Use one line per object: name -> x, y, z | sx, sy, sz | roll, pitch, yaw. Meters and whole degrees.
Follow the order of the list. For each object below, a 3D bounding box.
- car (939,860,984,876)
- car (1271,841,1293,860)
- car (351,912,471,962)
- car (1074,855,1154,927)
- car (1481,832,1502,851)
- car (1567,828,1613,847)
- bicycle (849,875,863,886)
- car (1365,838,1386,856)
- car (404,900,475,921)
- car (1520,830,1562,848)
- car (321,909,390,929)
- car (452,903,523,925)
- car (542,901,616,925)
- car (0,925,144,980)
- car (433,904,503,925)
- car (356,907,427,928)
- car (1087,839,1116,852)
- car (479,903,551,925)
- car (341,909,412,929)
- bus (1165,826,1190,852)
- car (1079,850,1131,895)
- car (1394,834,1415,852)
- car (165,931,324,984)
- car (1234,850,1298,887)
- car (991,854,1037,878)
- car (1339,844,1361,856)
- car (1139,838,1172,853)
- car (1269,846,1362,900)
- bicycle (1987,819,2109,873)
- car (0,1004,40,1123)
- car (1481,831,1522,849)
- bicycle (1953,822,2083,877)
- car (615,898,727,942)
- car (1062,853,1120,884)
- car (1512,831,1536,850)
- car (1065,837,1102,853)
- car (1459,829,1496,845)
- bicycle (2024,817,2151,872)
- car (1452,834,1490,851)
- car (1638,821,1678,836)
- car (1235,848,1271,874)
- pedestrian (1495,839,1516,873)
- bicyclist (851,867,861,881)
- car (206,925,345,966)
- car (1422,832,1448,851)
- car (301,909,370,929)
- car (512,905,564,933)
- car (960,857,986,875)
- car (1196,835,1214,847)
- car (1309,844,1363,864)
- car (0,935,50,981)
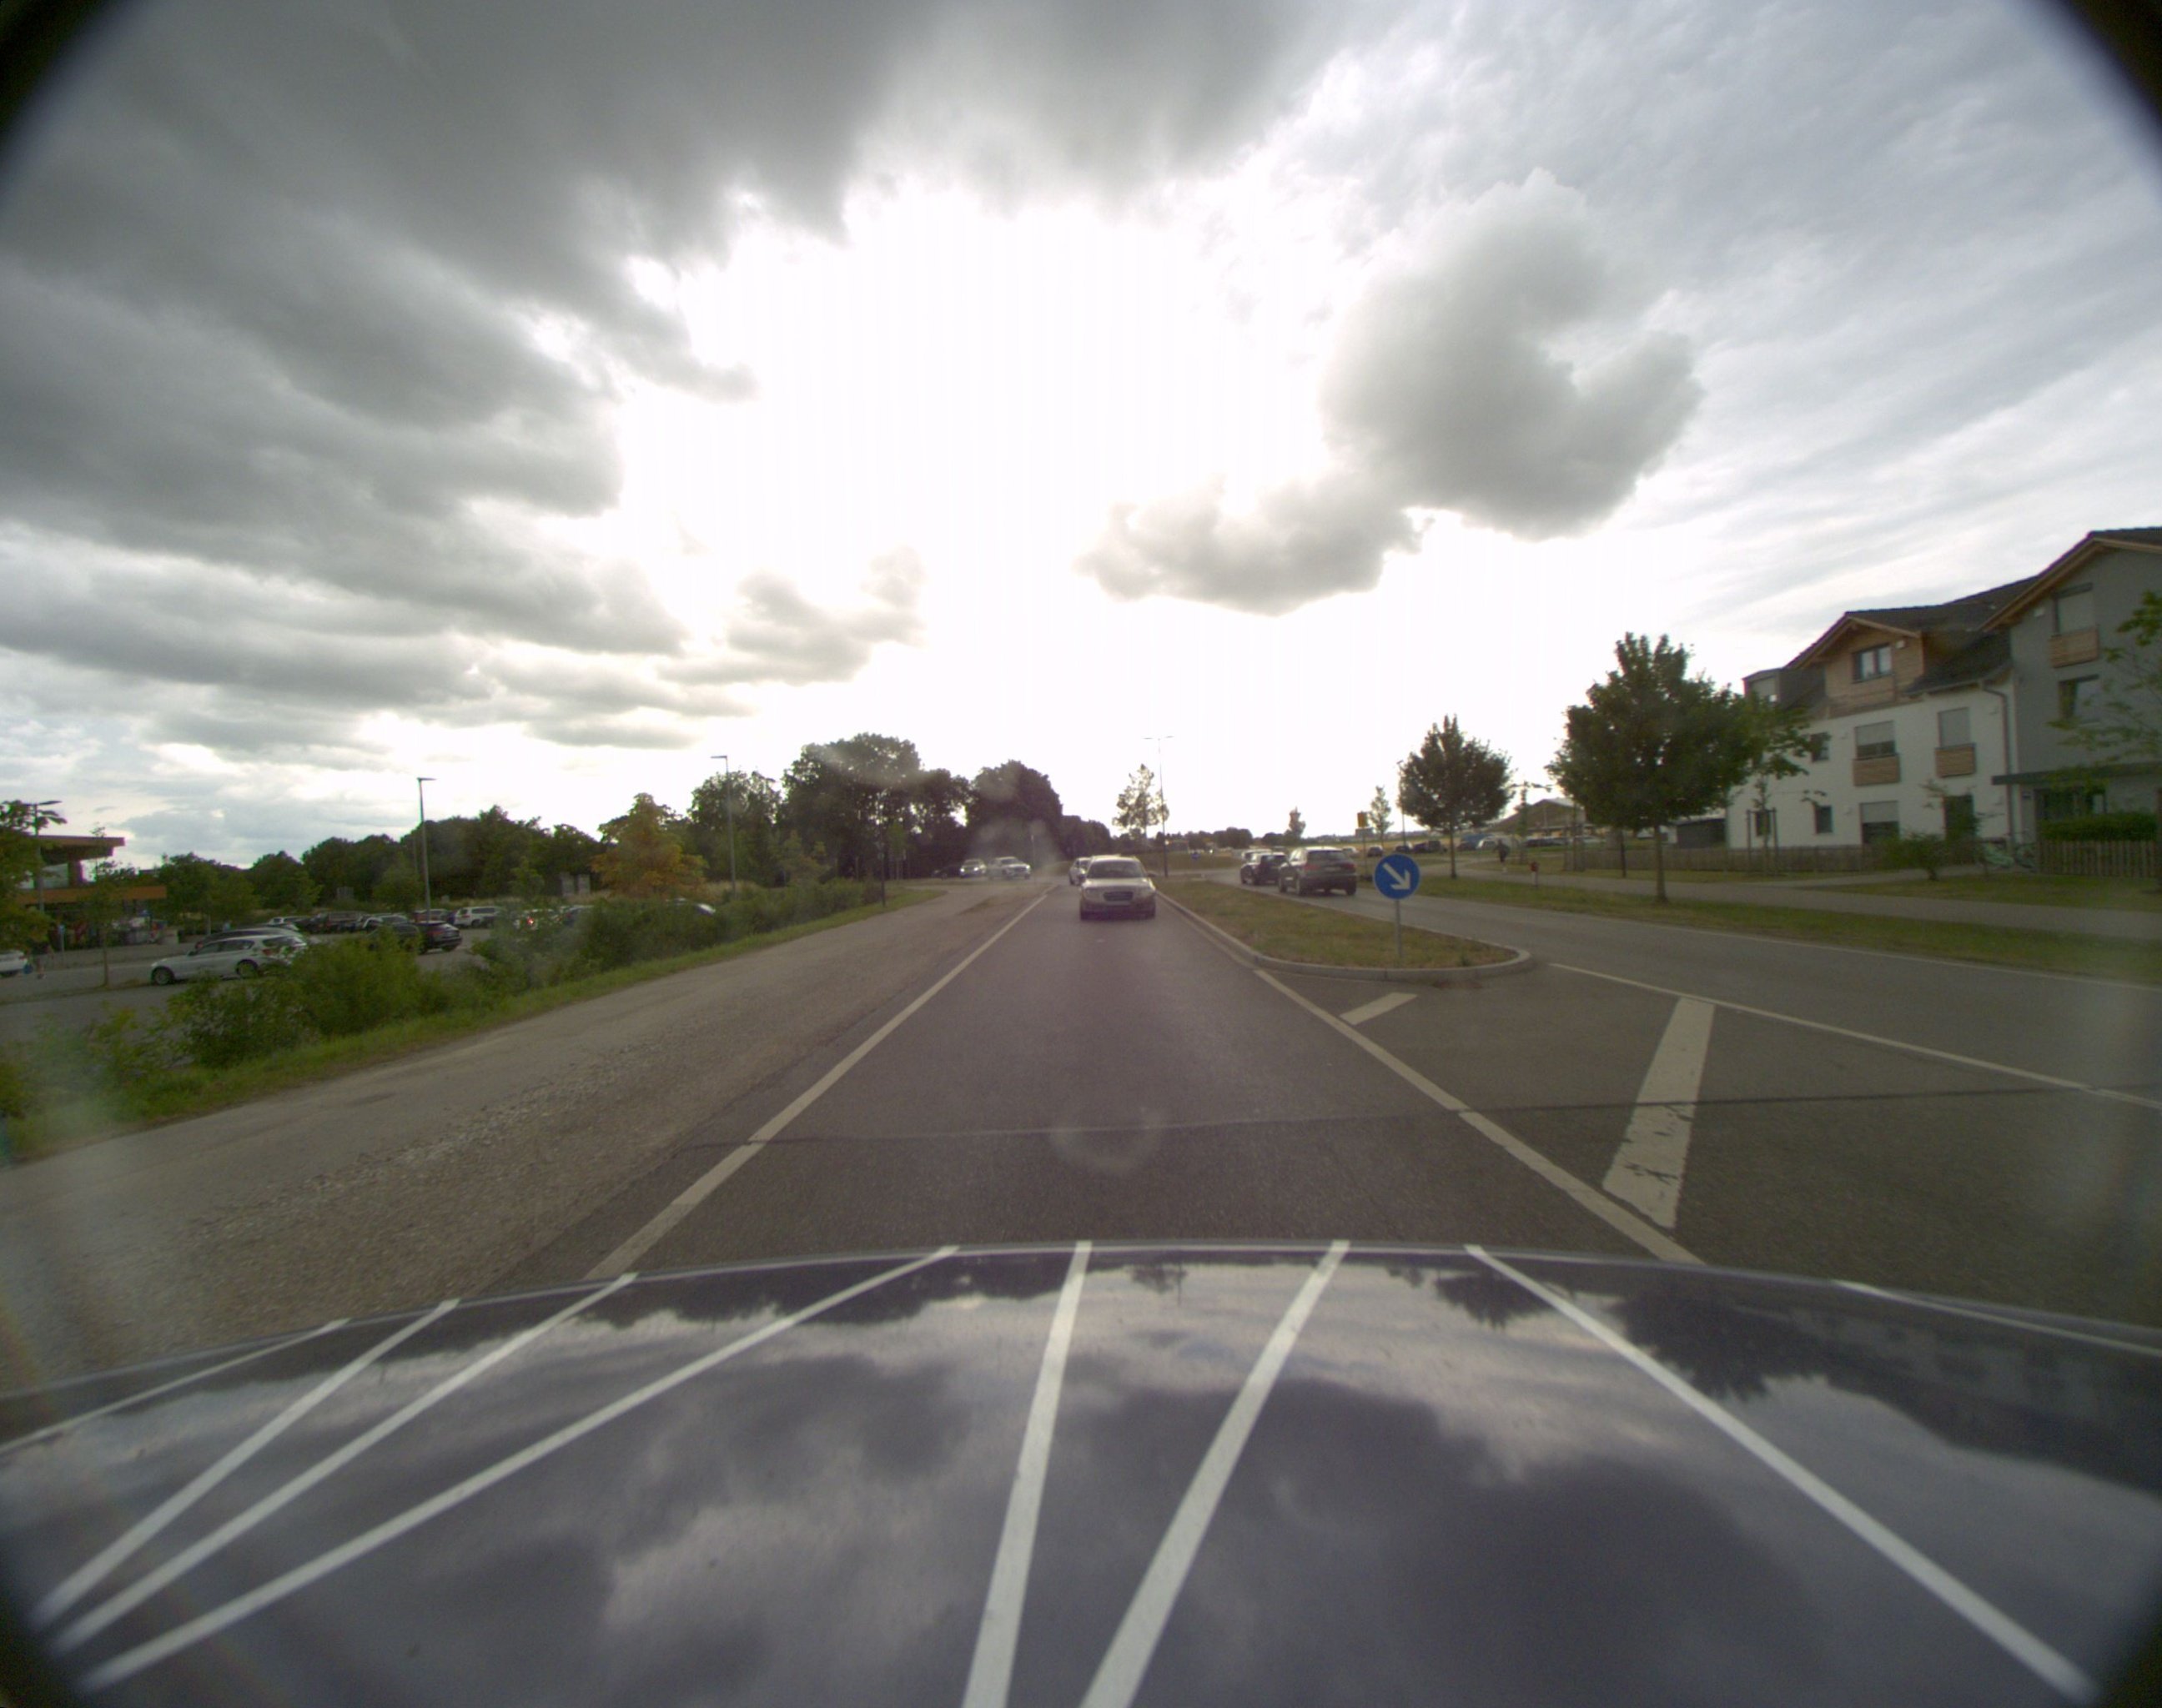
car -> -11.501, 1.337, 73.125 | 4.004, 1.412, 1.713 | -2, 0, -21
car -> 19.606, -0.374, 74.174 | 1.828, 1.712, 4.402 | -2, 1, 13
car -> -28.802, 3.548, 32.736 | 3.390, 1.696, 1.802 | -5, 0, 0
car -> 0.868, 0.824, 18.727 | 1.700, 1.458, 4.000 | -2, 1, 4
car -> 47.277, -1.450, 87.450 | 1.995, 2.002, 4.007 | -2, 0, 29
car -> 57.212, -1.877, 85.426 | 4.001, 2.002, 1.998 | -2, 0, -11
bicycle -> -20.468, 2.431, 68.996 | 1.297, 0.956, 0.569 | -2, 0, 41
car -> 35.270, -0.824, 91.014 | 1.995, 2.002, 4.007 | -2, 0, 26
car -> -51.844, 4.542, 61.448 | 1.697, 1.352, 4.007 | -2, 0, 28
car -> 55.277, -1.819, 91.254 | 4.001, 2.002, 1.998 | -2, 0, -11
car -> -62.935, 5.580, 65.966 | 1.697, 1.352, 4.007 | -2, 0, 28
car -> -46.292, 4.643, 59.377 | 1.697, 1.352, 4.007 | -2, 0, 28
car -> -35.249, 4.106, 53.440 | 1.697, 1.352, 4.007 | -2, 0, 28
car -> -40.600, 3.905, 30.294 | 4.269, 1.860, 2.001 | -2, 0, 5
car -> -49.092, 4.832, 60.913 | 1.697, 1.352, 4.007 | -2, 0, 28
car -> -57.618, 5.301, 63.589 | 1.697, 1.352, 4.007 | -2, 0, 28
car -> 2.727, -1.127, 99.966 | 1.995, 1.674, 4.008 | -2, 0, 33
car -> -43.193, 4.530, 58.080 | 1.697, 1.352, 4.007 | -2, 0, 28
car -> -59.706, 5.487, 64.465 | 1.697, 1.352, 4.007 | -2, 0, 28
bus -> 12.402, -1.881, 98.348 | 2.990, 3.261, 6.487 | -2, 0, 5
car -> 1.039, 0.686, 31.218 | 1.870, 1.578, 5.063 | -3, 1, 3
car -> 37.997, -1.260, 89.152 | 1.995, 2.002, 4.007 | -2, 0, 26
car -> -29.289, 3.617, 26.687 | 3.558, 1.524, 1.753 | -2, 0, 0
car -> 8.101, 0.608, 33.663 | 1.830, 1.480, 4.350 | -2, 0, 1
car -> -4.916, 0.857, 55.442 | 2.003, 1.674, 3.992 | -2, 0, -26
car -> 32.602, -0.483, 92.007 | 1.995, 1.280, 4.007 | -2, 0, 26
car -> 8.768, -0.965, 88.851 | 1.994, 1.674, 4.008 | -2, 0, 38
car -> 7.713, 0.580, 25.372 | 1.830, 1.573, 4.216 | -2, 0, 1
bicycle -> 26.525, -0.211, 20.911 | 0.684, 1.409, 2.094 | -2, 0, 1
car -> -16.448, 2.910, 9.740 | 3.766, 1.529, 1.676 | -2, 0, -1
car -> 52.778, -1.744, 95.376 | 3.999, 2.002, 1.999 | -2, 0, -8
bicycle -> 25.703, -0.123, 20.927 | 0.684, 1.404, 2.344 | -2, 0, 1
car -> -18.177, 2.916, 33.816 | 3.997, 1.696, 1.657 | -2, 0, 0
car -> 0.484, 0.773, 41.631 | 1.872, 1.533, 4.193 | -4, 1, -17
car -> 49.733, -1.523, 85.336 | 2.227, 2.002, 4.007 | -2, 0, 29
car -> 0.356, -1.058, 88.706 | 1.995, 1.794, 4.781 | -2, 0, 33
car -> 53.572, -2.335, 102.766 | 4.001, 2.002, 1.998 | -2, 0, -11
bicycle -> 27.331, -0.249, 20.699 | 0.684, 1.420, 2.094 | -2, 0, 1
car -> 50.753, -1.464, 98.921 | 4.001, 2.002, 1.998 | -2, 0, -11
car -> 82.706, -3.605, 108.923 | 4.568, 2.002, 1.998 | -2, 0, -11
car -> 10.811, 0.409, 47.981 | 1.829, 1.480, 4.218 | -2, 0, 7
pedestrian -> 19.667, 0.076, 35.215 | 0.547, 1.521, 0.586 | -5, 0, 1
bicyclist -> -20.444, 1.821, 68.930 | 0.657, 1.236, 0.556 | -1, 1, 41
car -> -35.097, 3.984, 33.167 | 4.127, 1.476, 2.001 | -2, 0, 5
car -> 40.759, -1.420, 87.578 | 1.996, 2.002, 4.005 | -2, 0, 16
car -> -65.455, 5.709, 66.773 | 1.697, 1.352, 4.007 | -2, 0, 28
car -> -31.789, 3.765, 44.450 | 1.848, 1.352, 3.989 | -2, 0, -44
car -> -9.444, 1.037, 66.375 | 2.000, 1.510, 3.767 | -2, 0, -12
car -> 16.107, -1.714, 98.991 | 1.774, 1.435, 4.000 | -2, 0, 1
car -> 20.401, -0.012, 60.667 | 4.344, 1.480, 1.827 | -2, 0, -35
car -> -48.115, 4.581, 33.034 | 3.995, 1.837, 2.072 | -2, 0, 5
